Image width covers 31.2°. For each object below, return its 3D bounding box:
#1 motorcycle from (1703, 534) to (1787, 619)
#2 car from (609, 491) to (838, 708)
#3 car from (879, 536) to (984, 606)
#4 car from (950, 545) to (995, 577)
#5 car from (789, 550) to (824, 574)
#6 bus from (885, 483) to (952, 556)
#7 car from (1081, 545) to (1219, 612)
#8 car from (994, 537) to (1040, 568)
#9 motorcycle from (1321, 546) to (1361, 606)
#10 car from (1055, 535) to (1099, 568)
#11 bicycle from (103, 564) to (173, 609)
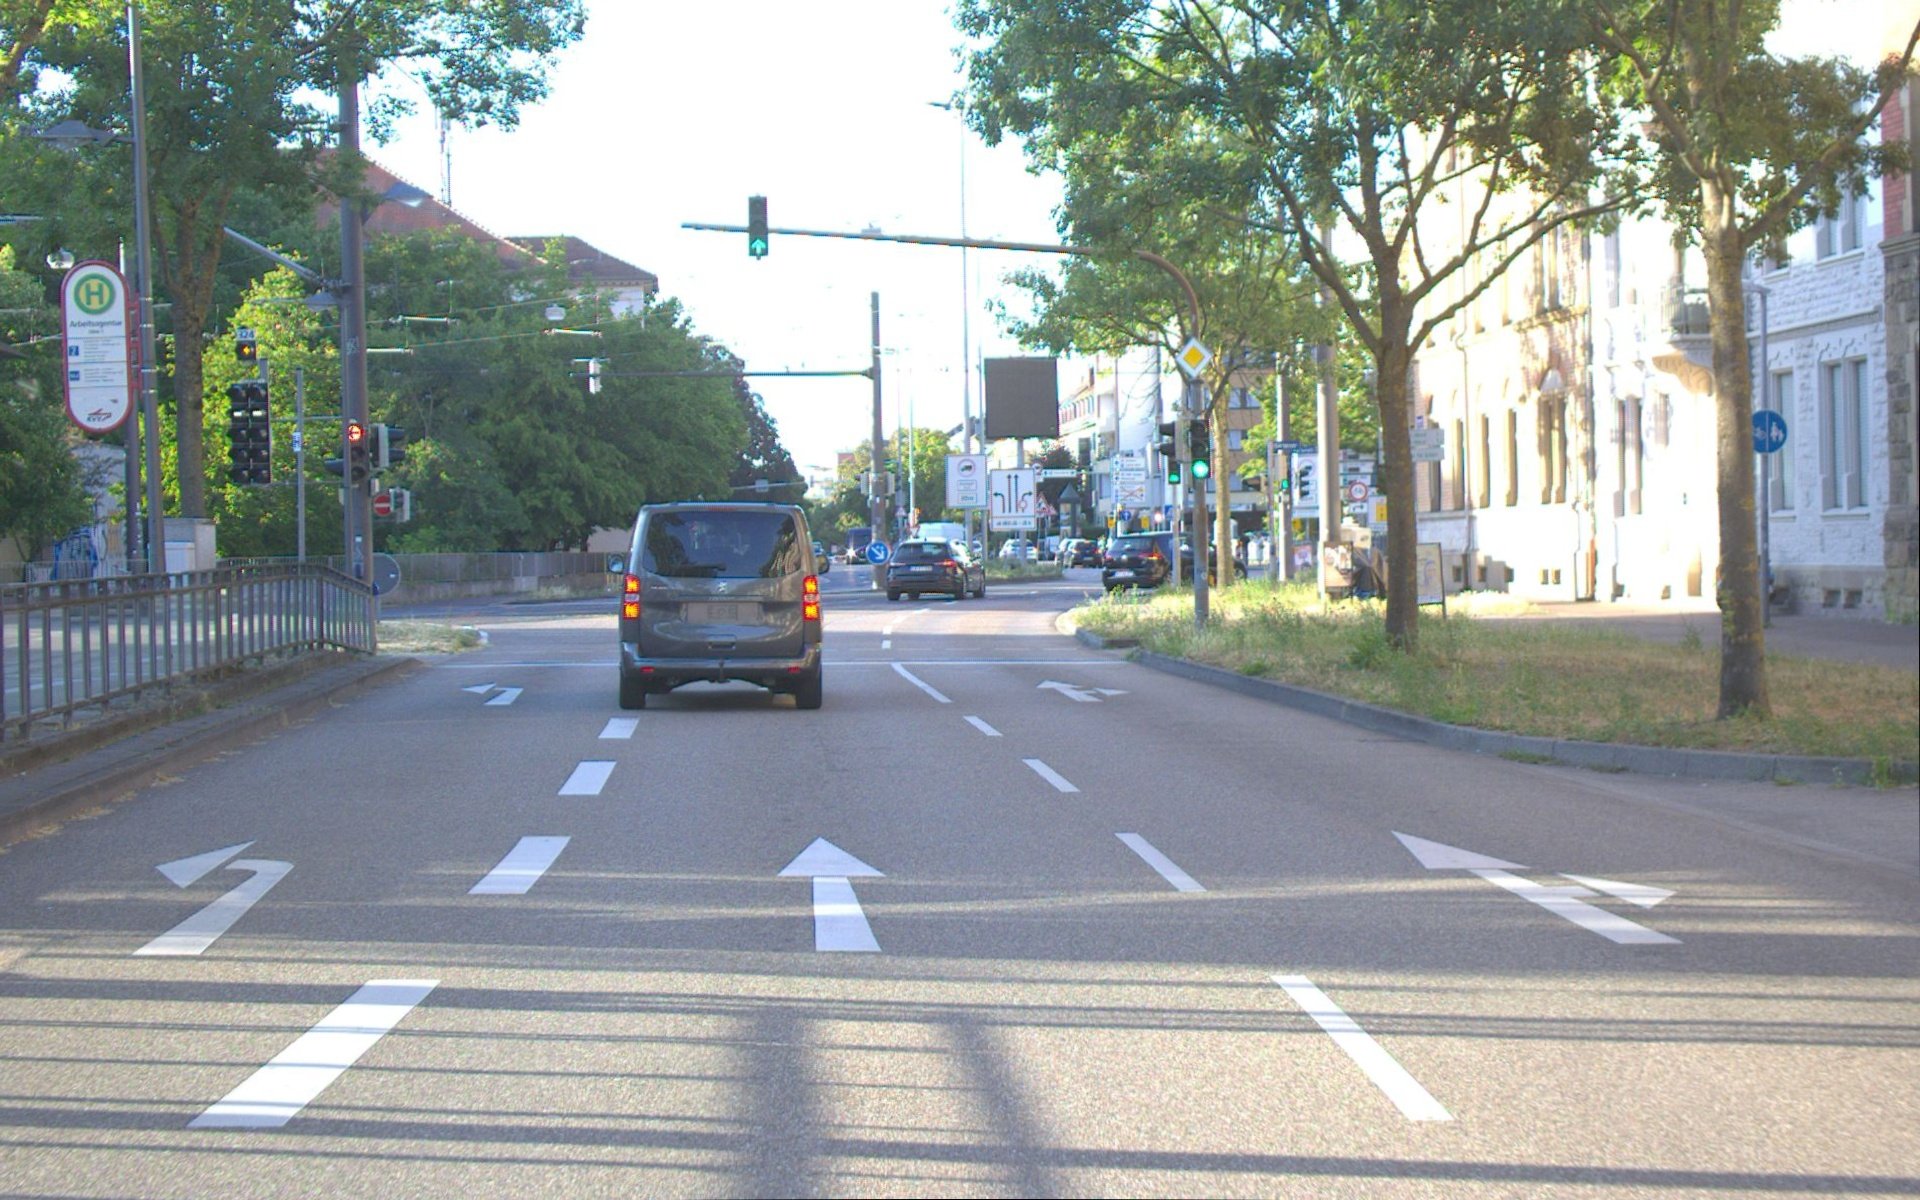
[{"bbox_3d":[11.366,-0.342,49.854,0.553,1.210,2.073,0,1,-5],"label":"motorcycle"},{"bbox_3d":[-2.293,-0.034,32.568,1.993,1.894,4.300,1,1,-5],"label":"car"},{"bbox_3d":[-0.638,-0.688,79.285,1.846,1.539,3.630,-1,1,9],"label":"car"},{"bbox_3d":[0.664,-2.118,187.121,1.993,1.651,4.300,-1,1,-6],"label":"car"},{"bbox_3d":[-10.474,-2.596,234.486,1.994,1.590,4.000,-1,1,3],"label":"car"},{"bbox_3d":[-2.729,-5.187,223.720,3.289,4.601,10.002,0,1,-7],"label":"bus"},{"bbox_3d":[4.419,-0.524,79.539,1.996,1.505,3.996,1,1,22],"label":"car"},{"bbox_3d":[3.107,-2.614,187.941,1.993,1.651,4.300,-1,1,-6],"label":"car"},{"bbox_3d":[6.794,-0.440,61.350,0.604,1.040,1.744,-1,1,3],"label":"motorcycle"},{"bbox_3d":[6.200,-2.583,182.827,1.993,1.651,4.299,-1,1,-2],"label":"car"},{"bbox_3d":[-21.264,-0.356,88.950,0.559,1.138,1.718,0,2,45],"label":"bicycle"}]
